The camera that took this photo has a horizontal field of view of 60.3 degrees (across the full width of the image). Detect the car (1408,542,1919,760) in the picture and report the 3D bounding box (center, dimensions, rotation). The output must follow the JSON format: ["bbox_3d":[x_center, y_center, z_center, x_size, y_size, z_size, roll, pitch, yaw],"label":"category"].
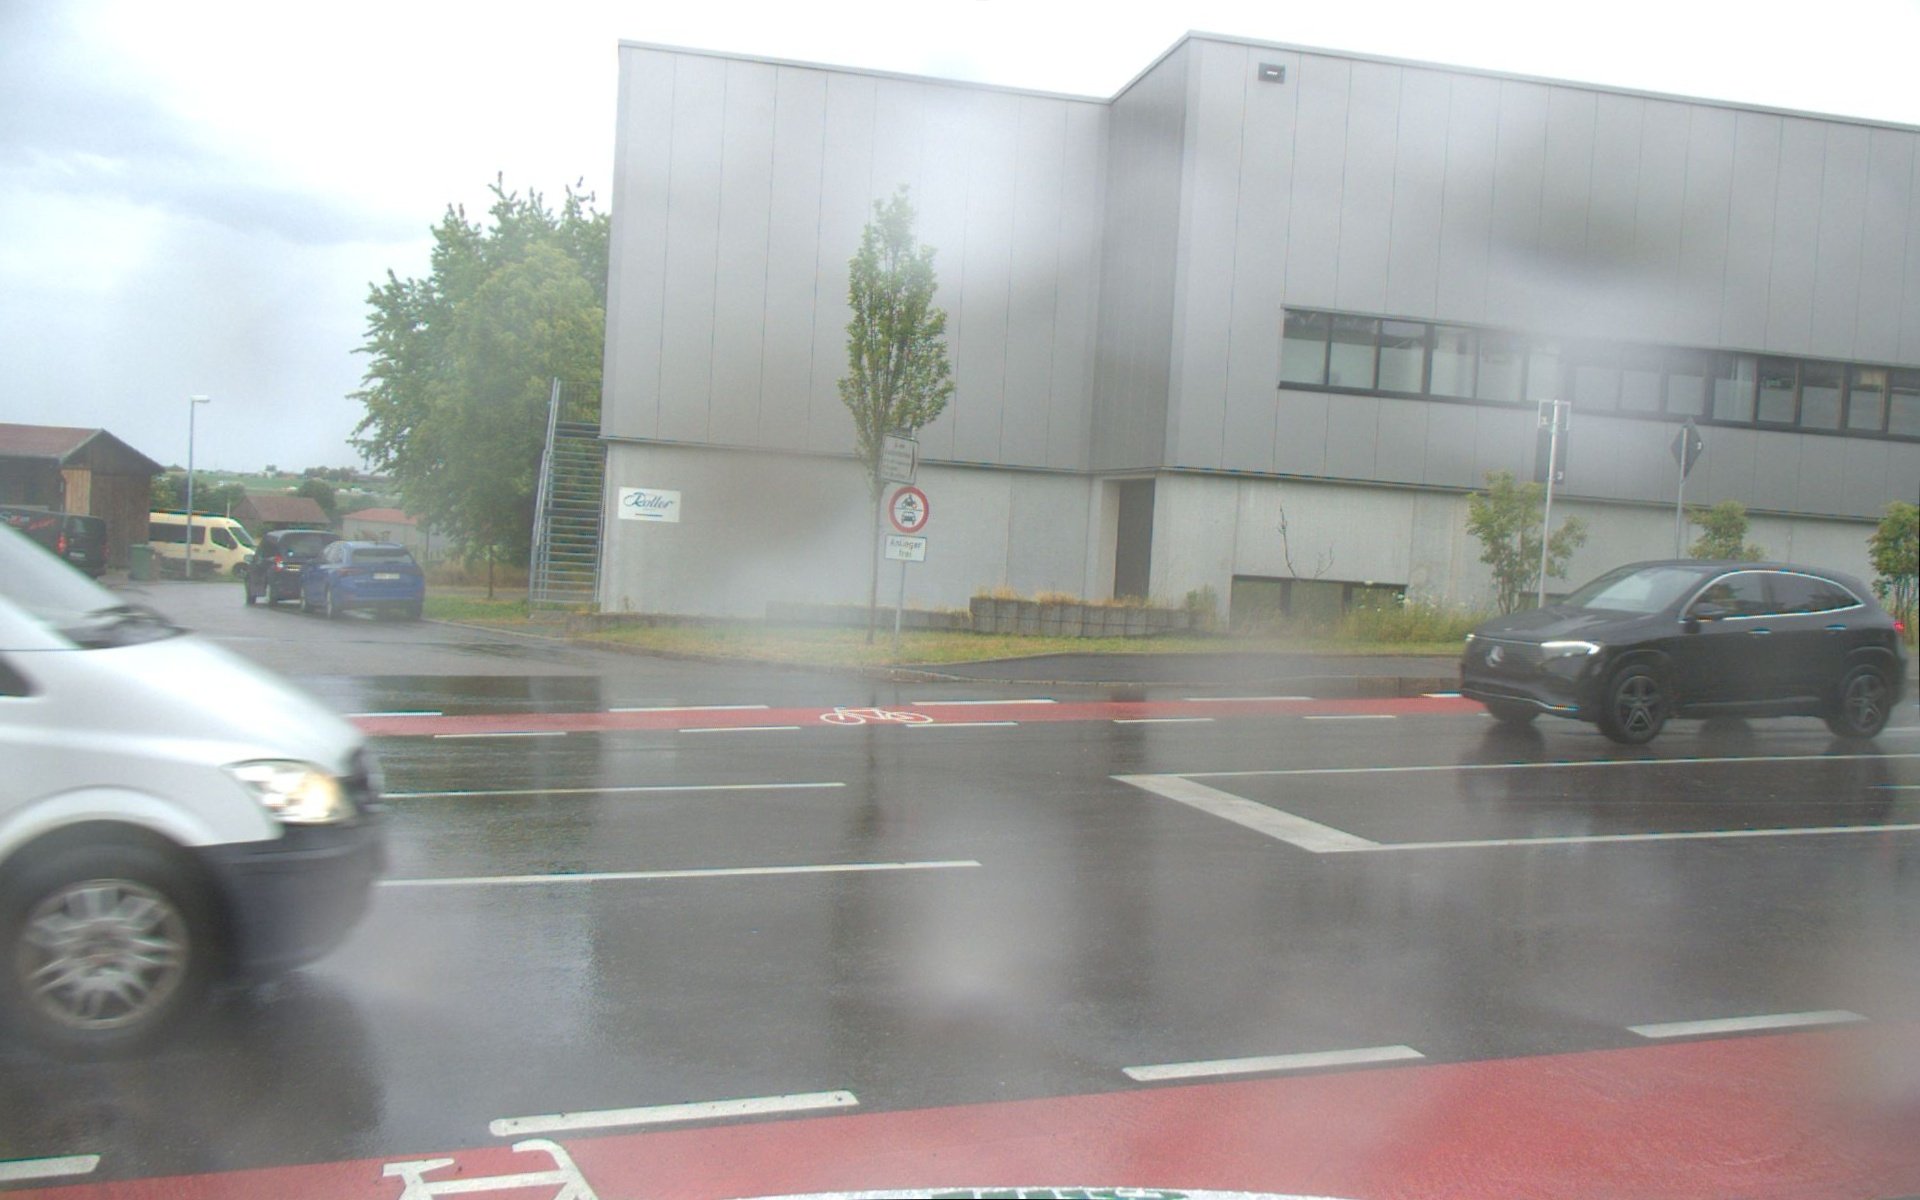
[{"bbox_3d":[7.977,0.460,16.303,6.752,1.847,2.349,1,1,-20],"label":"car"}]

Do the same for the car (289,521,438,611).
[{"bbox_3d":[-11.946,-0.668,32.955,1.932,1.638,4.399,1,1,-32],"label":"car"}]

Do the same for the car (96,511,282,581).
[{"bbox_3d":[-29.452,-2.040,63.383,5.893,2.457,2.460,1,0,-6],"label":"car"}]

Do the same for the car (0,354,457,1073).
[{"bbox_3d":[-4.367,0.274,5.127,5.275,2.053,1.894,1,1,-20],"label":"car"}]

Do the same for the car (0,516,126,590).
[{"bbox_3d":[-25.774,-1.313,46.061,4.303,1.938,2.001,2,1,16],"label":"car"}]

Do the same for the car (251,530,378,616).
[{"bbox_3d":[-15.017,-0.628,38.348,2.052,1.867,4.425,1,1,-30],"label":"car"}]
